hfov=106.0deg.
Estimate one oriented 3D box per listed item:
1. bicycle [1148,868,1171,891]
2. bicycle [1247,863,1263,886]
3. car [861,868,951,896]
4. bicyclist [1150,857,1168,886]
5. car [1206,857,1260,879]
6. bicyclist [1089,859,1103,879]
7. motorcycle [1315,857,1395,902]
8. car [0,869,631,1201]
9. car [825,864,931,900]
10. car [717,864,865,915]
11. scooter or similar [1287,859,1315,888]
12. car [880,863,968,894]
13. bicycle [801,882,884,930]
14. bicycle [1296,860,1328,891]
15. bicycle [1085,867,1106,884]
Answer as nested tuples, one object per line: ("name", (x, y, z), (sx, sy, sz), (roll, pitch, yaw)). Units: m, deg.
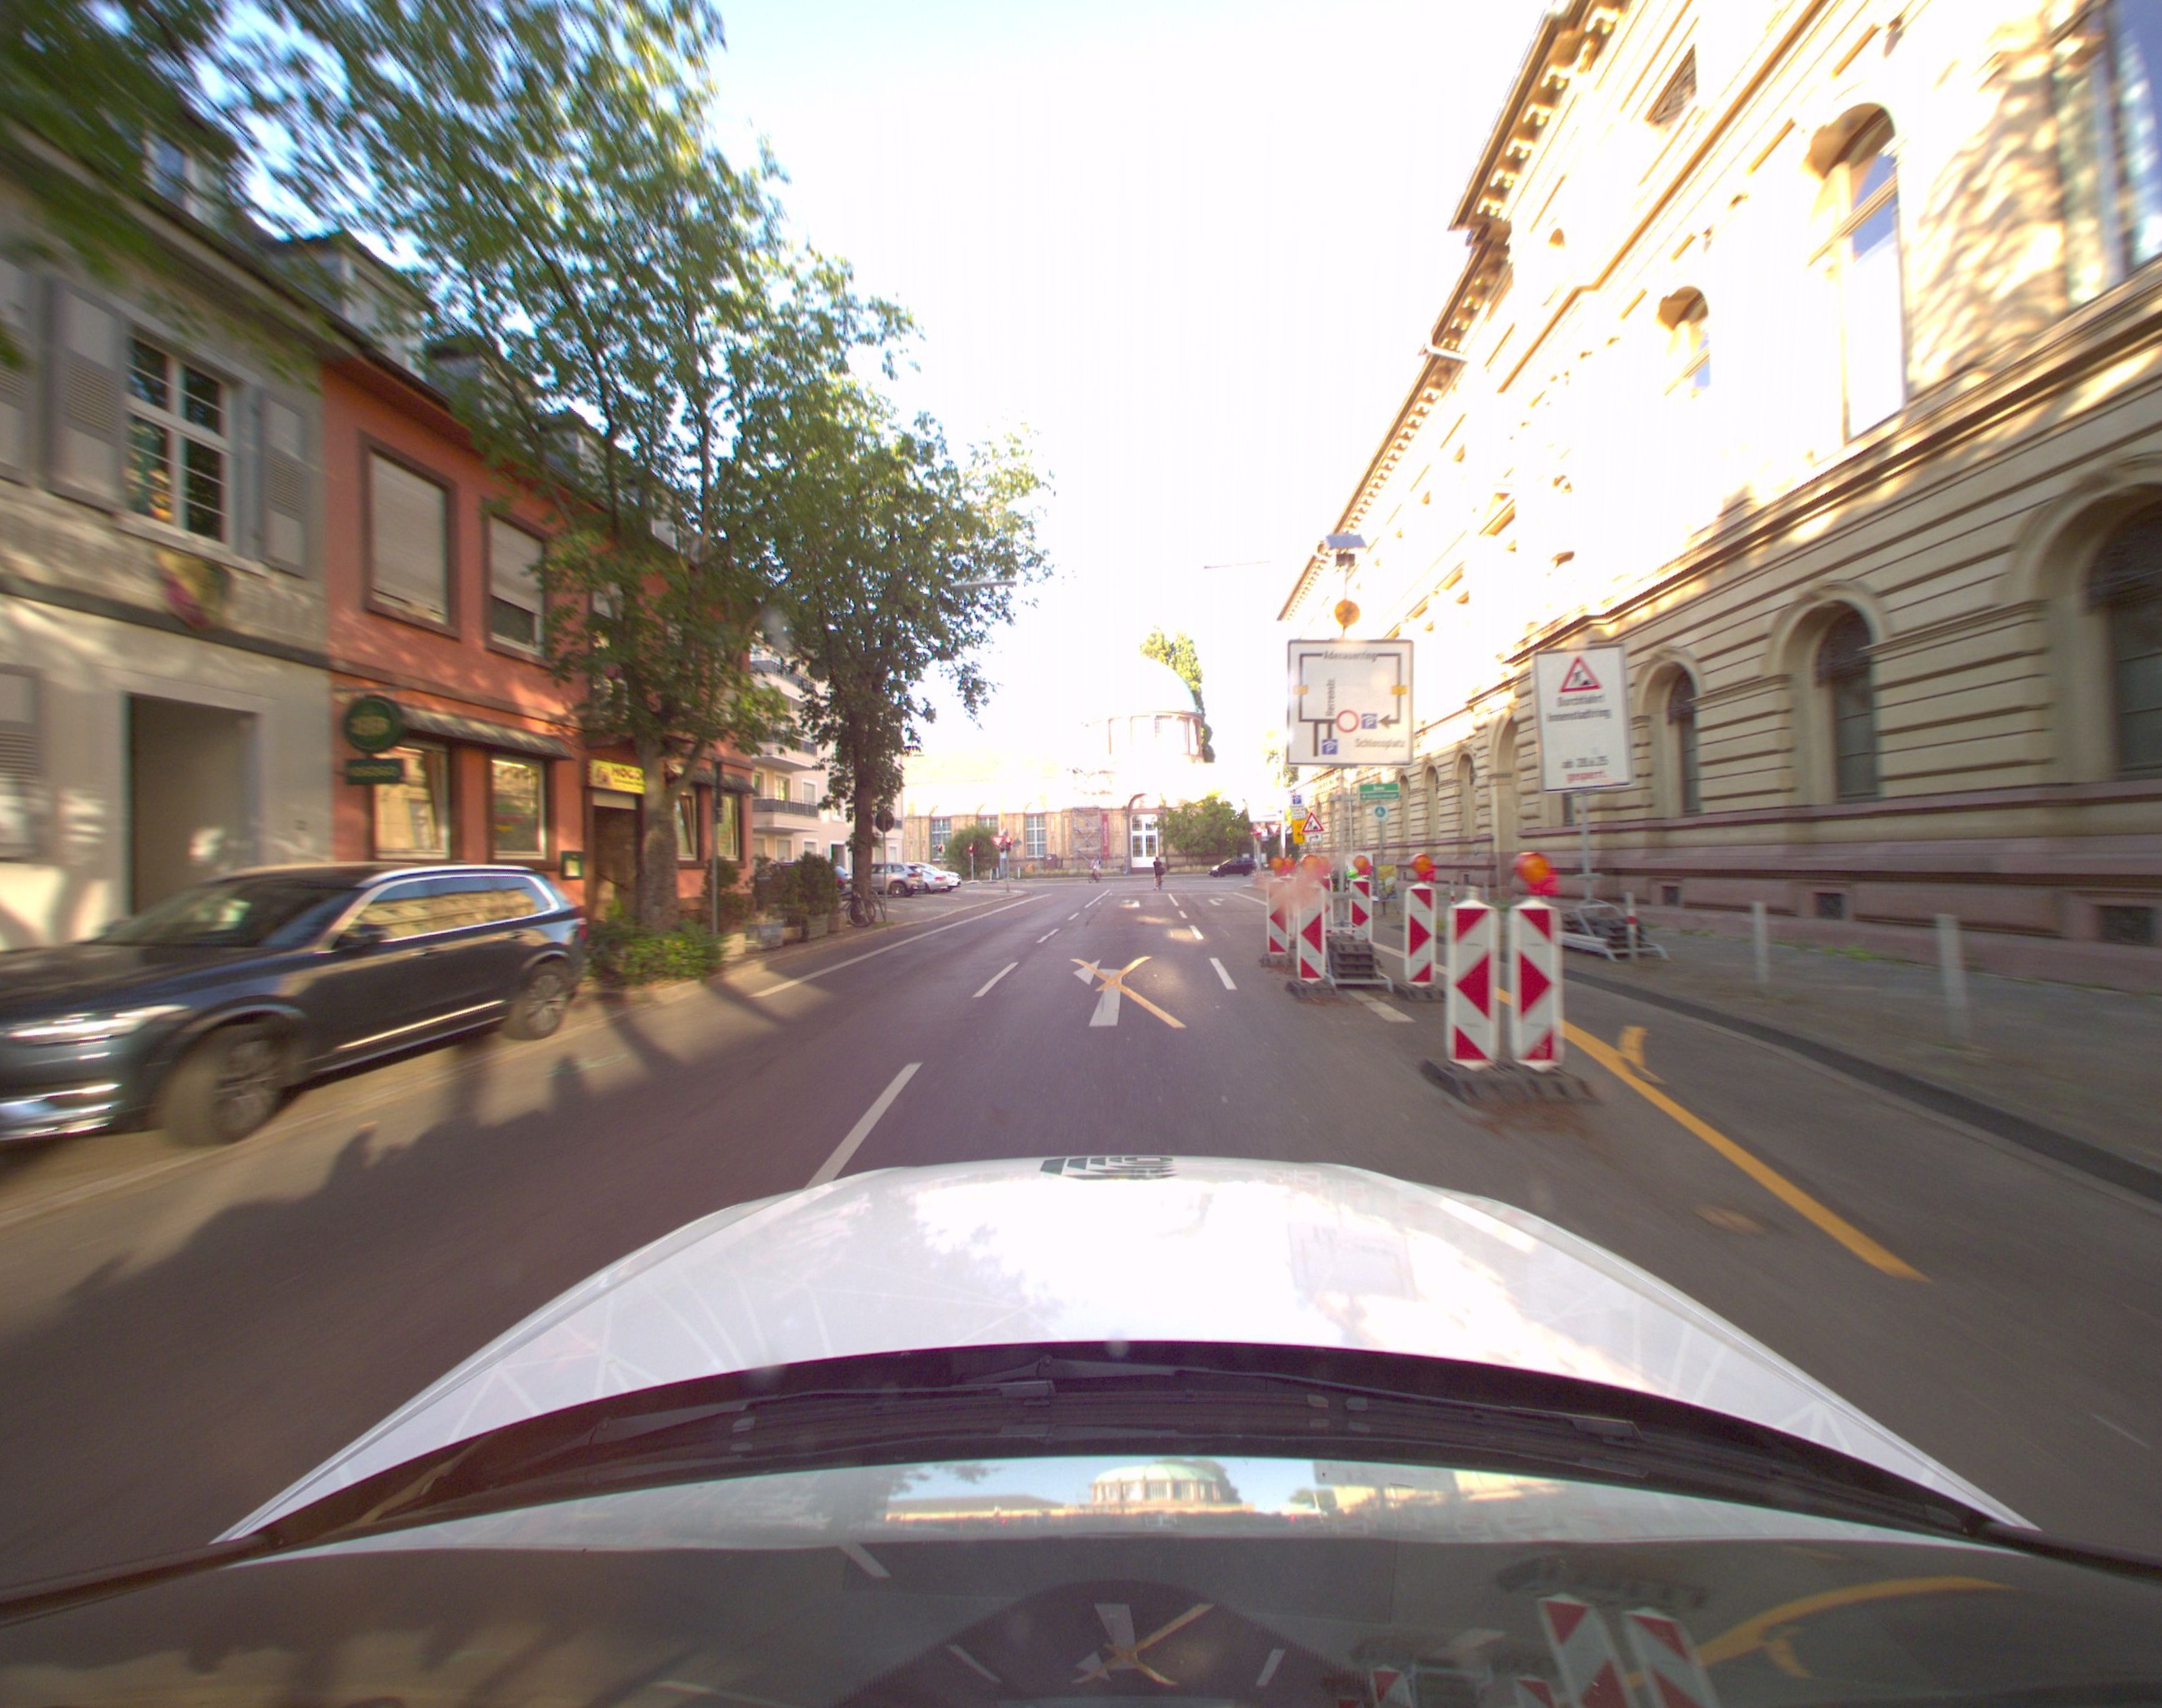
("bicycle", (4.144, 1.334, 42.785), (0.705, 1.156, 2.078), (-3, -2, 19))
("bicycle", (9.438, 1.124, 44.124), (0.579, 1.188, 1.922), (-2, -2, 5))
("car", (-9.051, 1.457, 42.346), (4.249, 1.380, 1.737), (0, 0, 3))
("bicyclist", (4.108, 0.935, 42.760), (0.710, 1.503, 0.854), (-3, -2, 19))
("car", (11.986, 1.095, 64.318), (3.829, 1.471, 1.663), (-3, 0, -1))
("bicyclist", (1.060, 1.083, 59.001), (0.619, 1.364, 0.934), (-3, -3, 27))
("motorcycle", (8.259, 0.791, 24.611), (2.077, 1.215, 0.715), (-5, -1, 34))
("car", (-6.174, 1.049, 7.013), (1.823, 1.759, 5.045), (2, -1, -2))
("car", (-9.443, 1.302, 38.045), (4.400, 1.605, 1.917), (0, 0, 3))
("car", (-9.946, 1.200, 28.118), (4.400, 1.665, 1.865), (0, 0, 3))
("scooter or similar", (9.390, 0.835, 34.793), (1.122, 1.195, 0.586), (-2, -1, 12))
("car", (-8.614, 1.357, 45.004), (4.422, 1.641, 1.943), (0, 0, 3))
("bicycle", (-5.904, 1.278, 20.201), (1.861, 1.104, 0.610), (-2, -1, -2))
("bicycle", (9.407, 0.851, 33.210), (0.823, 1.134, 1.947), (-5, -1, 5))
("bicycle", (1.068, 1.539, 58.943), (0.619, 1.156, 2.065), (-3, -2, 27))
